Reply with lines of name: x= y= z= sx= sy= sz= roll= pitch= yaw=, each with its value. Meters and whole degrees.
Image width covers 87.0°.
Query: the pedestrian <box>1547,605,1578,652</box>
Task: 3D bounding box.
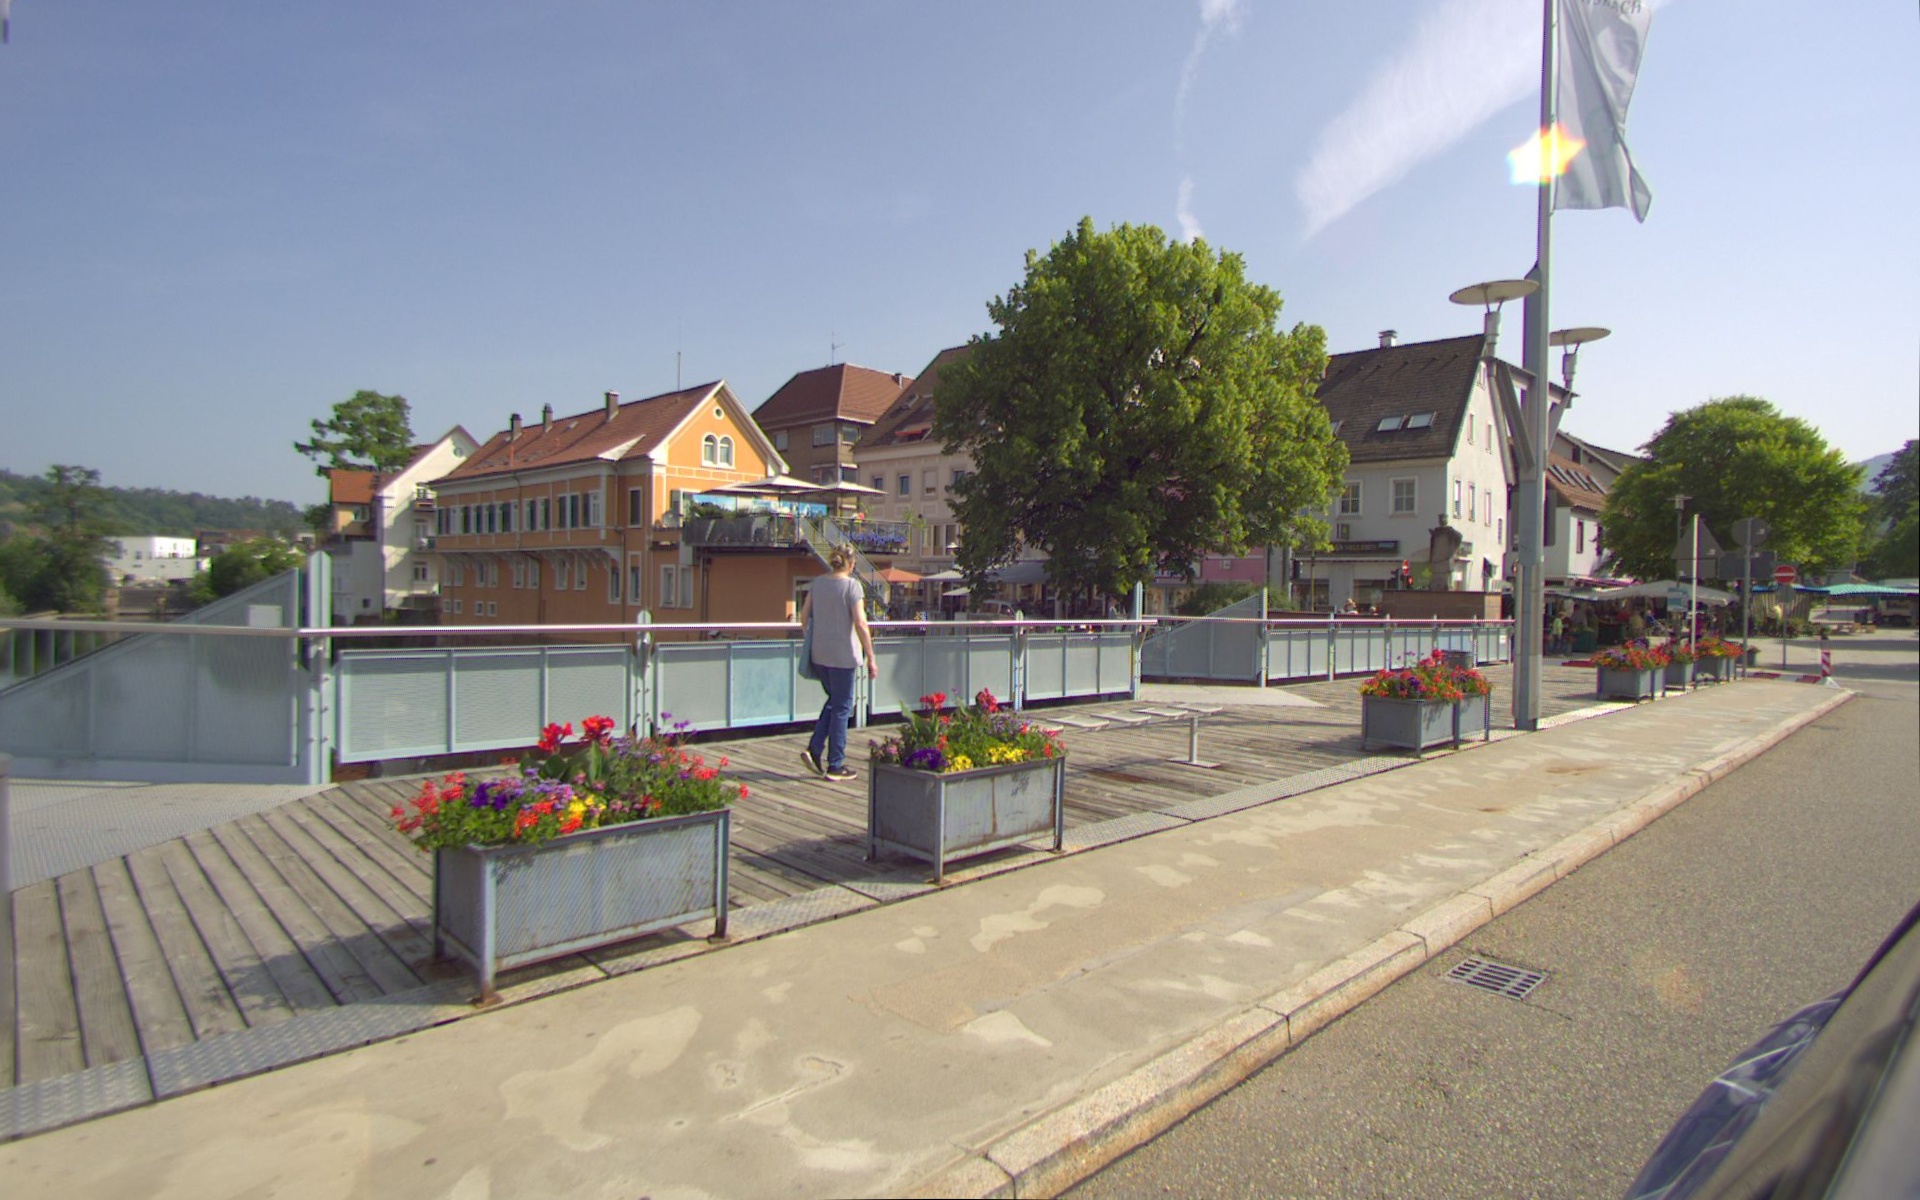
pedestrian: x=21.867 y=1.027 z=36.727 sx=0.855 sy=1.652 sz=0.777 roll=0 pitch=2 yaw=42

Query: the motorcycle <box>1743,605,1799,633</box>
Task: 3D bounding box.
motorcycle: x=40.093 y=0.938 z=50.077 sx=0.631 sy=1.210 sz=2.008 roll=1 pitch=3 yaw=-32

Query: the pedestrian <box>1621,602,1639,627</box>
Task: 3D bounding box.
pedestrian: x=33.657 y=0.720 z=50.860 sx=0.640 sy=1.215 sz=0.571 roll=-1 pitch=4 yaw=-44

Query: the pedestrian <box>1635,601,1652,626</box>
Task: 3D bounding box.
pedestrian: x=35.486 y=0.691 z=52.561 sx=0.640 sy=1.215 sz=0.571 roll=-1 pitch=4 yaw=-44

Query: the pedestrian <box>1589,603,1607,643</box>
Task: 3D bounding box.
pedestrian: x=26.837 y=0.947 z=42.544 sx=0.520 sy=1.647 sz=0.697 roll=1 pitch=0 yaw=40

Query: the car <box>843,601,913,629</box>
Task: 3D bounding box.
car: x=-4.715 y=0.827 z=57.808 sx=3.986 sy=1.466 sz=1.708 roll=2 pitch=1 yaw=43

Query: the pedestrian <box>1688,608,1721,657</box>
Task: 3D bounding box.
pedestrian: x=27.012 y=1.172 z=36.737 sx=0.879 sy=1.678 sz=0.564 roll=4 pitch=3 yaw=38

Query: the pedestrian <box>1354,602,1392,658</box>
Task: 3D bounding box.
pedestrian: x=13.889 y=0.998 z=34.055 sx=0.892 sy=1.838 sz=1.019 roll=1 pitch=0 yaw=8

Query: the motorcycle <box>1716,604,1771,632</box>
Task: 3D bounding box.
motorcycle: x=38.921 y=0.895 z=50.285 sx=0.631 sy=1.210 sz=2.008 roll=0 pitch=4 yaw=-31

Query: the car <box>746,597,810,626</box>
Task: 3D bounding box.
car: x=-10.648 y=0.630 z=59.095 sx=1.657 sy=1.578 sz=4.092 roll=0 pitch=1 yaw=-45

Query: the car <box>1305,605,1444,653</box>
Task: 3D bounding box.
car: x=15.396 y=1.028 z=37.707 sx=4.483 sy=1.585 sz=1.798 roll=1 pitch=2 yaw=43

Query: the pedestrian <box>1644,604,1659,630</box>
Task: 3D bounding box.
pedestrian: x=34.054 y=0.849 z=49.840 sx=0.568 sy=1.215 sz=0.643 roll=4 pitch=3 yaw=34

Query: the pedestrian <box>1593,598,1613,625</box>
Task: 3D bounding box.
pedestrian: x=33.156 y=0.582 z=52.192 sx=0.687 sy=1.347 sz=0.626 roll=0 pitch=3 yaw=-42

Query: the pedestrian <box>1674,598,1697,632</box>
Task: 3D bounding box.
pedestrian: x=35.000 y=0.706 z=48.839 sx=0.562 sy=1.572 sz=0.699 roll=0 pitch=3 yaw=-39

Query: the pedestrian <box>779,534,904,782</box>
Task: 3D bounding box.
pedestrian: x=-0.832 y=0.379 z=7.104 sx=0.665 sy=1.639 sz=0.555 roll=1 pitch=0 yaw=40

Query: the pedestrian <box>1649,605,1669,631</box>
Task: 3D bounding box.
pedestrian: x=33.848 y=0.866 z=48.994 sx=0.694 sy=1.215 sz=0.566 roll=3 pitch=3 yaw=31

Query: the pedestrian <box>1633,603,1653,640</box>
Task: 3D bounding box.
pedestrian: x=28.943 y=0.909 z=42.890 sx=0.617 sy=1.537 sz=0.626 roll=1 pitch=0 yaw=31

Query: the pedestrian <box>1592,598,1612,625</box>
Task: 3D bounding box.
pedestrian: x=32.734 y=0.574 z=51.589 sx=0.687 sy=1.347 sz=0.626 roll=0 pitch=3 yaw=-42

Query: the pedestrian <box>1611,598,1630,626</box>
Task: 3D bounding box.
pedestrian: x=34.085 y=0.615 z=52.205 sx=0.687 sy=1.347 sz=0.626 roll=0 pitch=3 yaw=-42

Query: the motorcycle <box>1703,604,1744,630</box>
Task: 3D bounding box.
motorcycle: x=39.002 y=0.846 z=51.687 sx=0.633 sy=1.210 sz=1.529 roll=0 pitch=3 yaw=-45

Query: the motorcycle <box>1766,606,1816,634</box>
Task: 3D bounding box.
motorcycle: x=41.260 y=0.989 z=50.283 sx=0.631 sy=1.210 sz=2.008 roll=2 pitch=3 yaw=-4

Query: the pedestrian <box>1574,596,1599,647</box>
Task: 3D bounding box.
pedestrian: x=24.907 y=0.850 z=40.257 sx=0.699 sy=2.010 sz=0.647 roll=1 pitch=0 yaw=24

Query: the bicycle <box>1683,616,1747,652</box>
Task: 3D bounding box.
bicycle: x=27.968 y=1.260 z=37.527 sx=1.848 sy=1.250 sz=0.610 roll=1 pitch=0 yaw=32

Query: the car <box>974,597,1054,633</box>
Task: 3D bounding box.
car: x=2.850 y=0.776 z=53.951 sx=4.130 sy=1.761 sz=1.686 roll=1 pitch=2 yaw=43
